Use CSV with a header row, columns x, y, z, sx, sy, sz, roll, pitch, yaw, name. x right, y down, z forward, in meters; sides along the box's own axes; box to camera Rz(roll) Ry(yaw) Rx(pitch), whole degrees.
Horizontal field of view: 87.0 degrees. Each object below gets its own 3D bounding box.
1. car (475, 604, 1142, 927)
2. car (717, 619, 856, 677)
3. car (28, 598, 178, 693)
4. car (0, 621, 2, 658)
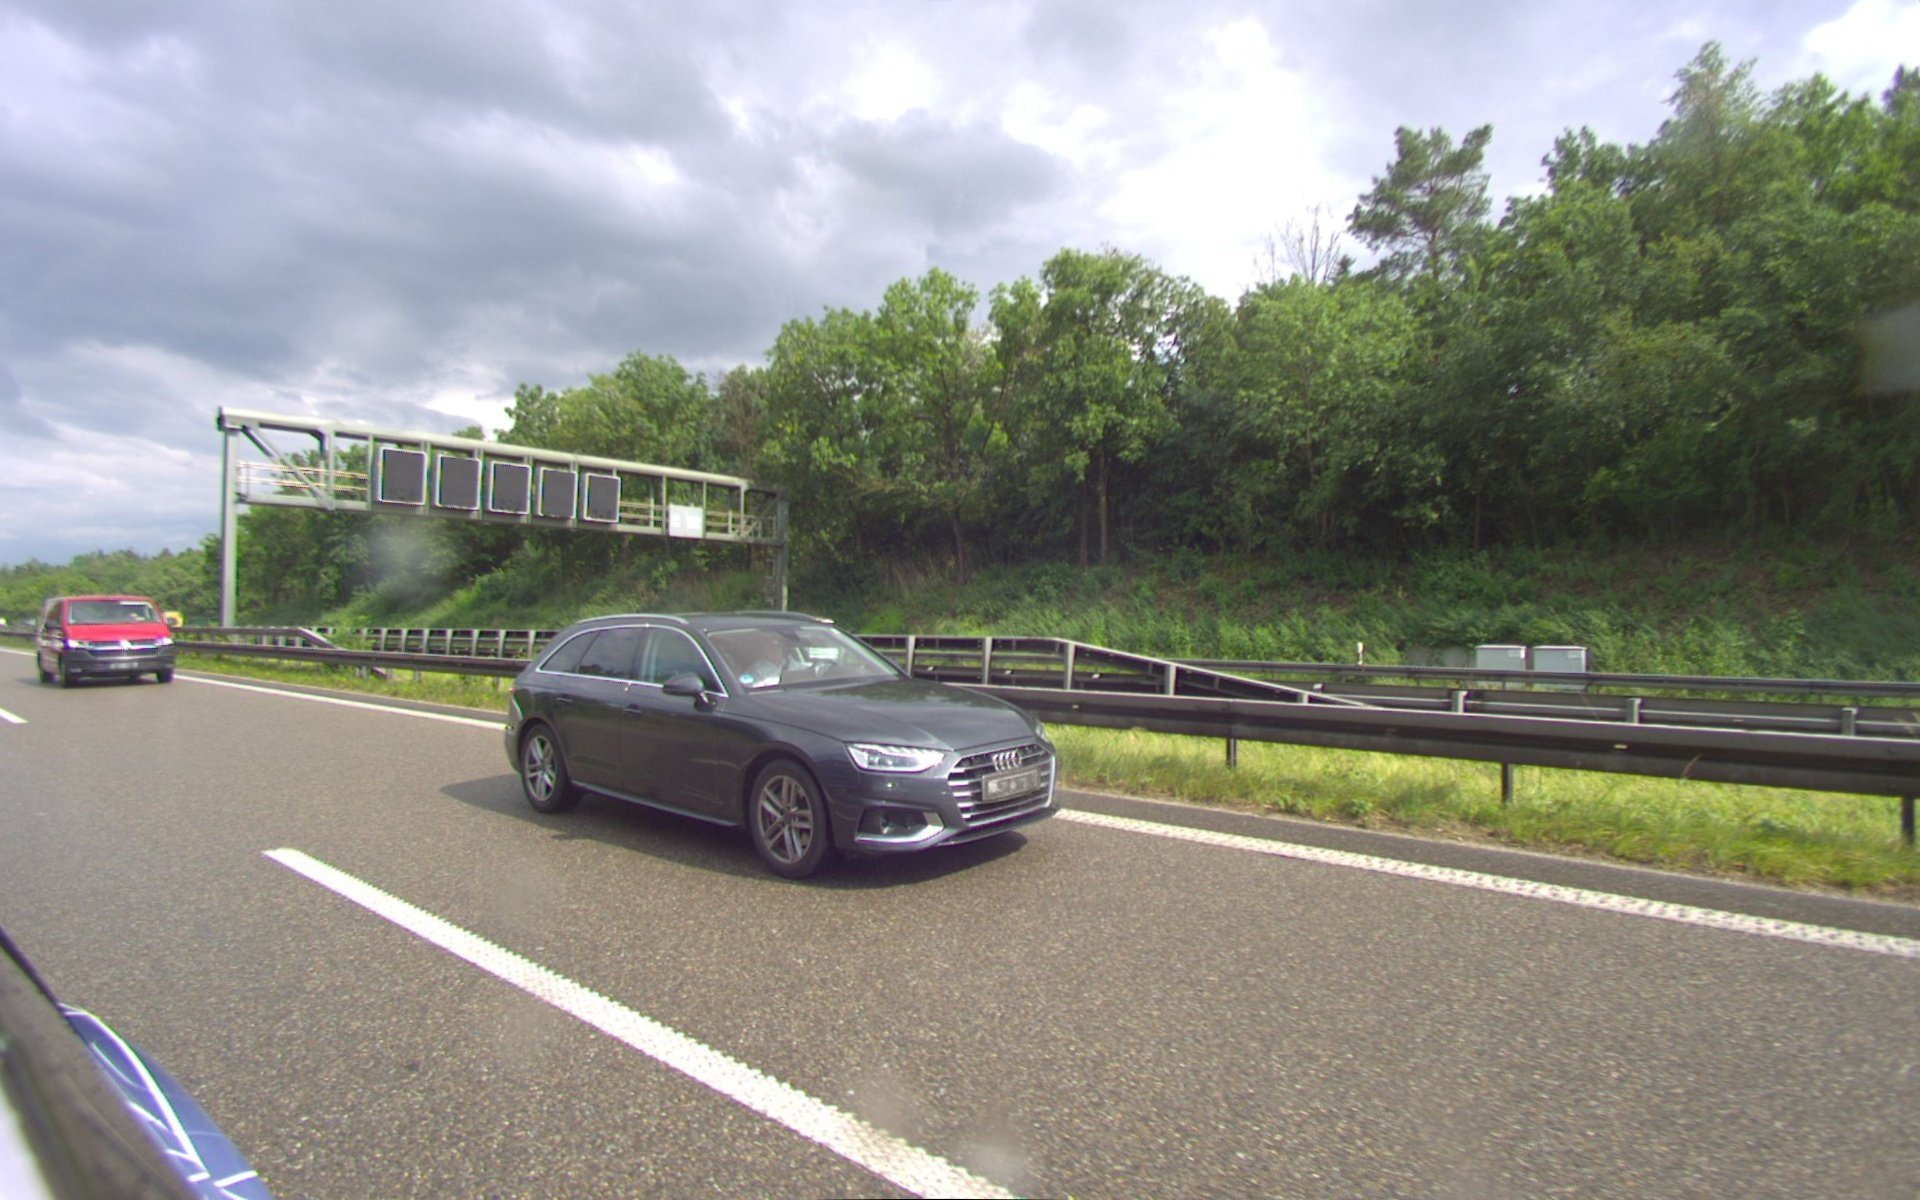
x,y,z,sx,sy,sz,roll,pitch,yaw,name
-1.337,0.770,6.816,4.837,1.429,1.775,-1,0,42,car
-5.571,1.471,32.142,4.628,1.675,1.810,-1,0,41,car
-19.072,0.932,22.433,4.837,1.880,1.901,-1,0,42,car
-42.670,1.693,43.360,4.837,1.508,1.983,-1,0,42,car
